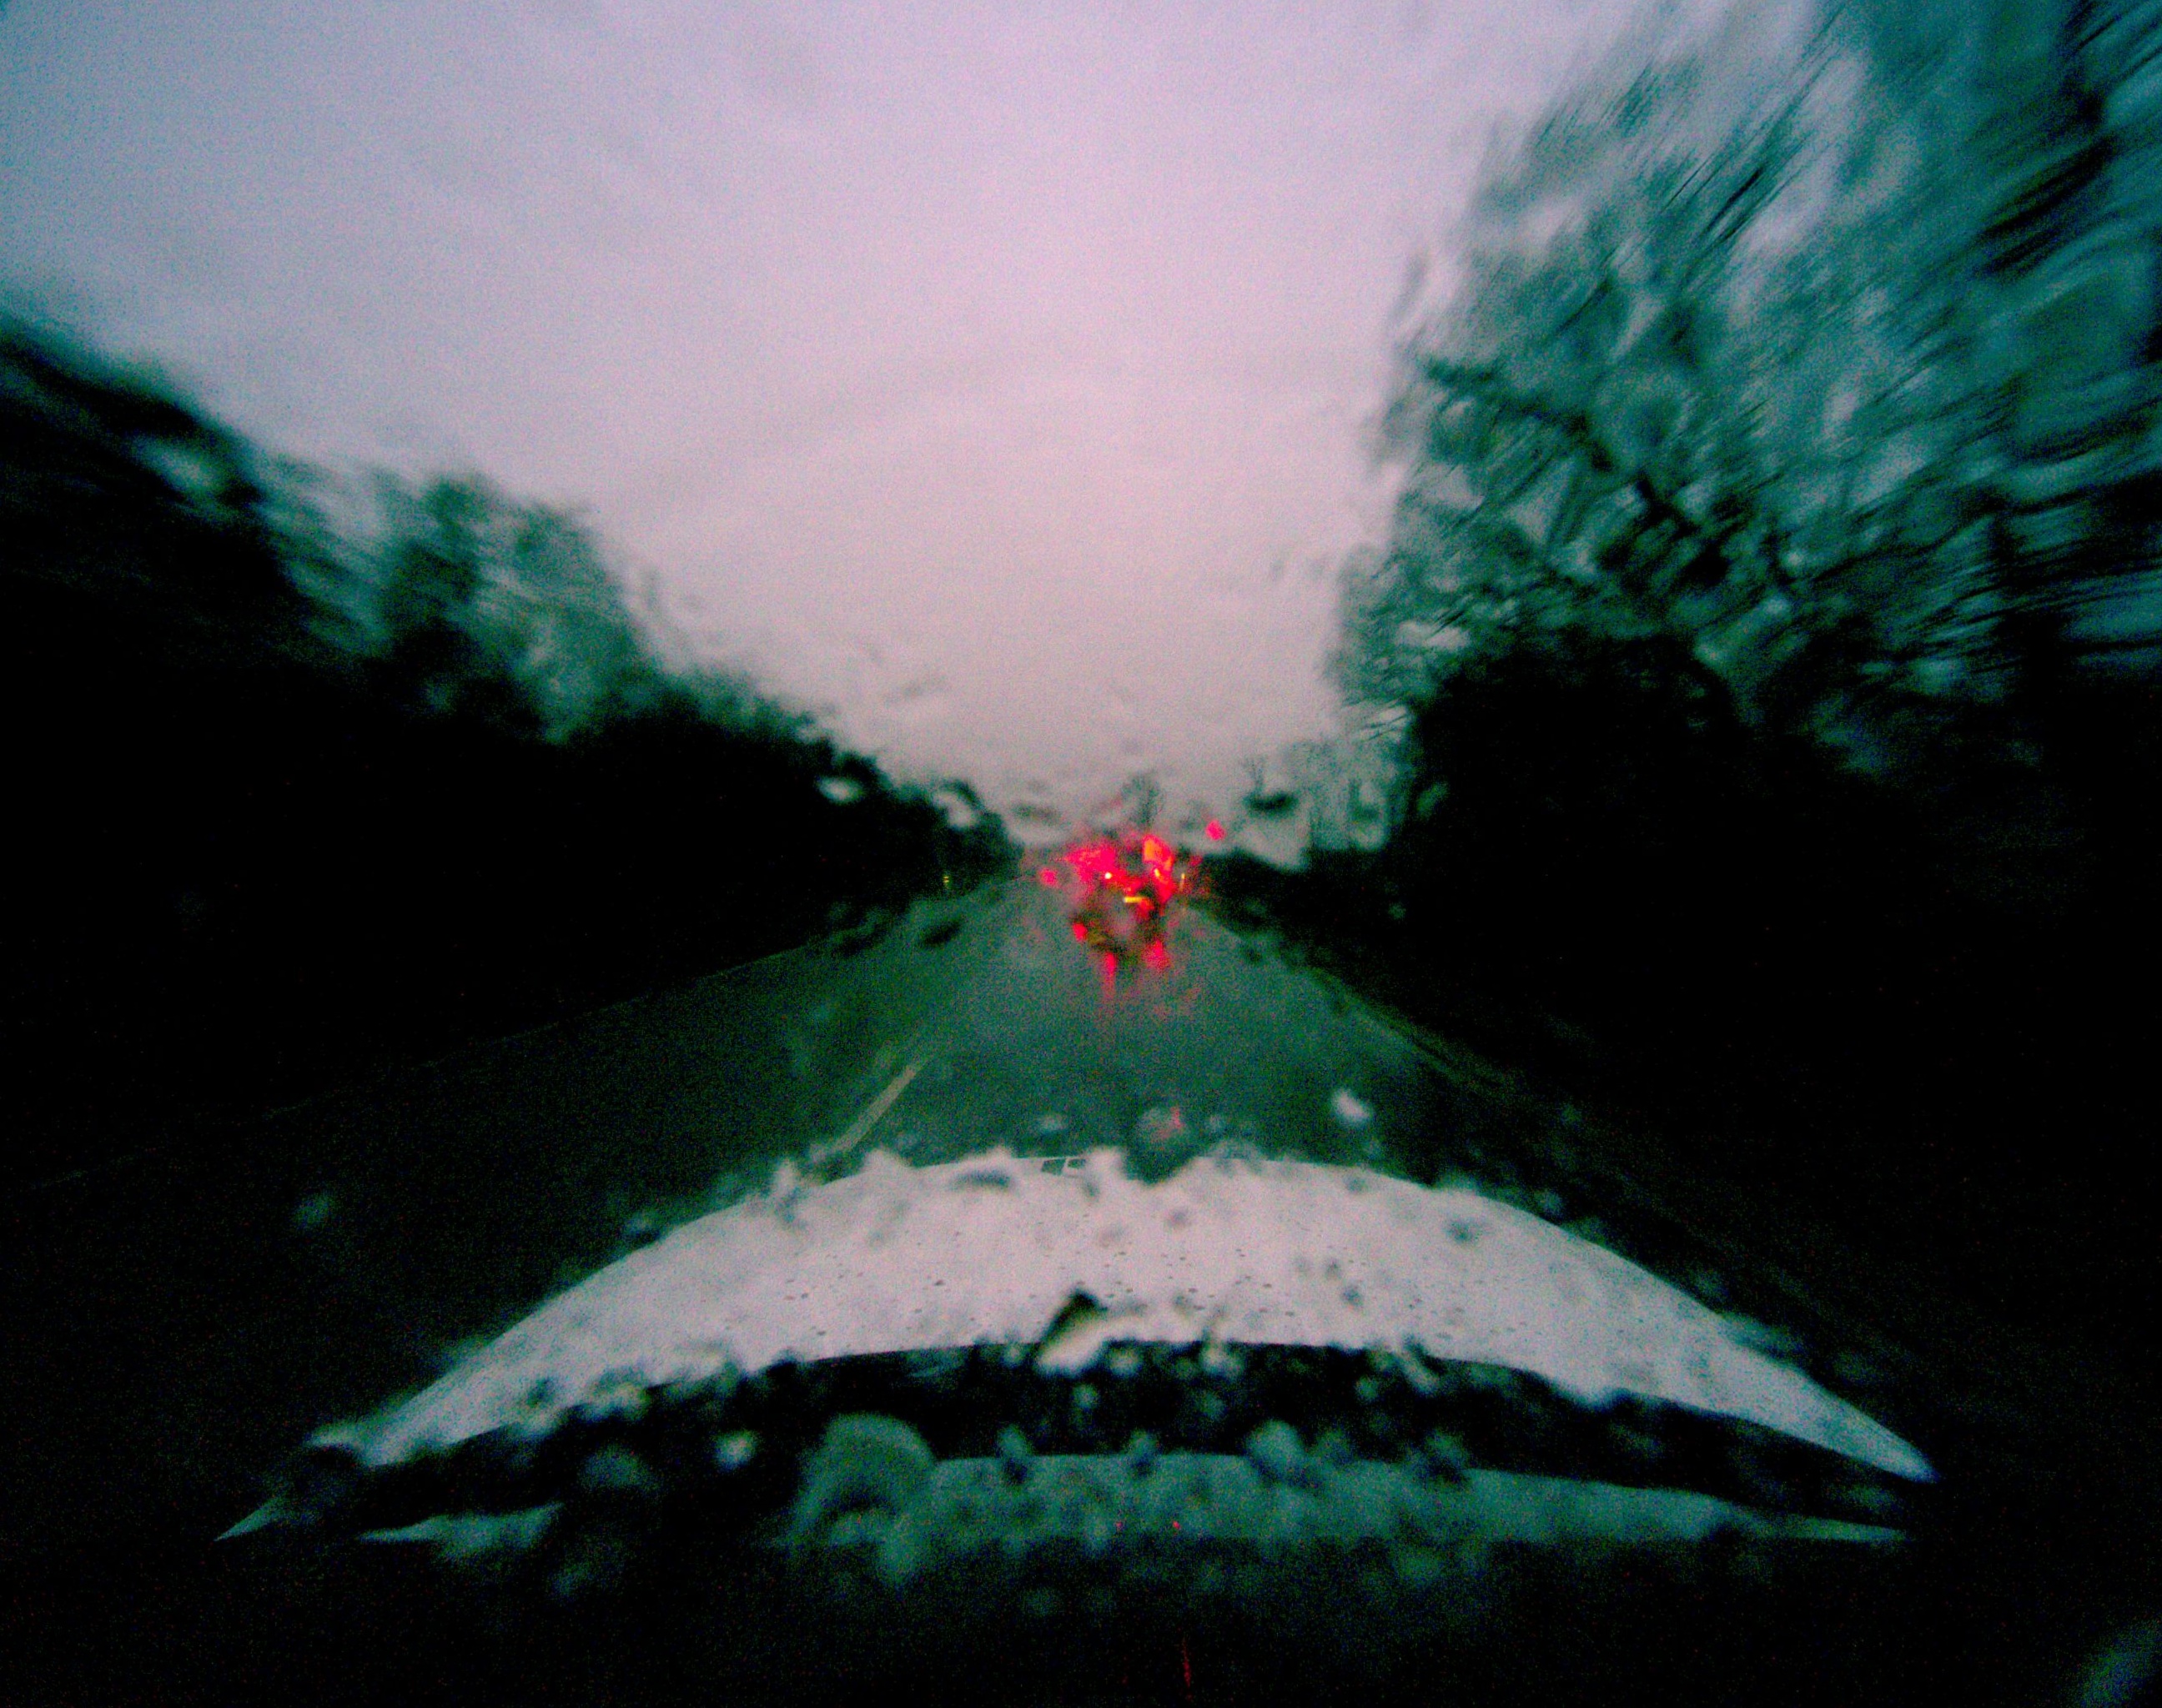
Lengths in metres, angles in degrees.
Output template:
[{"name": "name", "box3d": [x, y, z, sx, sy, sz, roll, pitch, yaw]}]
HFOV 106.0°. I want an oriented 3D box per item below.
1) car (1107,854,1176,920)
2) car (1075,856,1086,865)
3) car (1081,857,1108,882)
[{"name": "car", "box3d": [1.525, 0.775, 20.946, 1.596, 1.522, 3.872, -1, 0, 3]}, {"name": "car", "box3d": [-0.124, 1.125, 138.231, 1.540, 1.397, 3.874, -1, 0, 4]}, {"name": "car", "box3d": [0.804, 0.887, 47.797, 1.541, 1.397, 3.870, -1, 0, 1]}]
